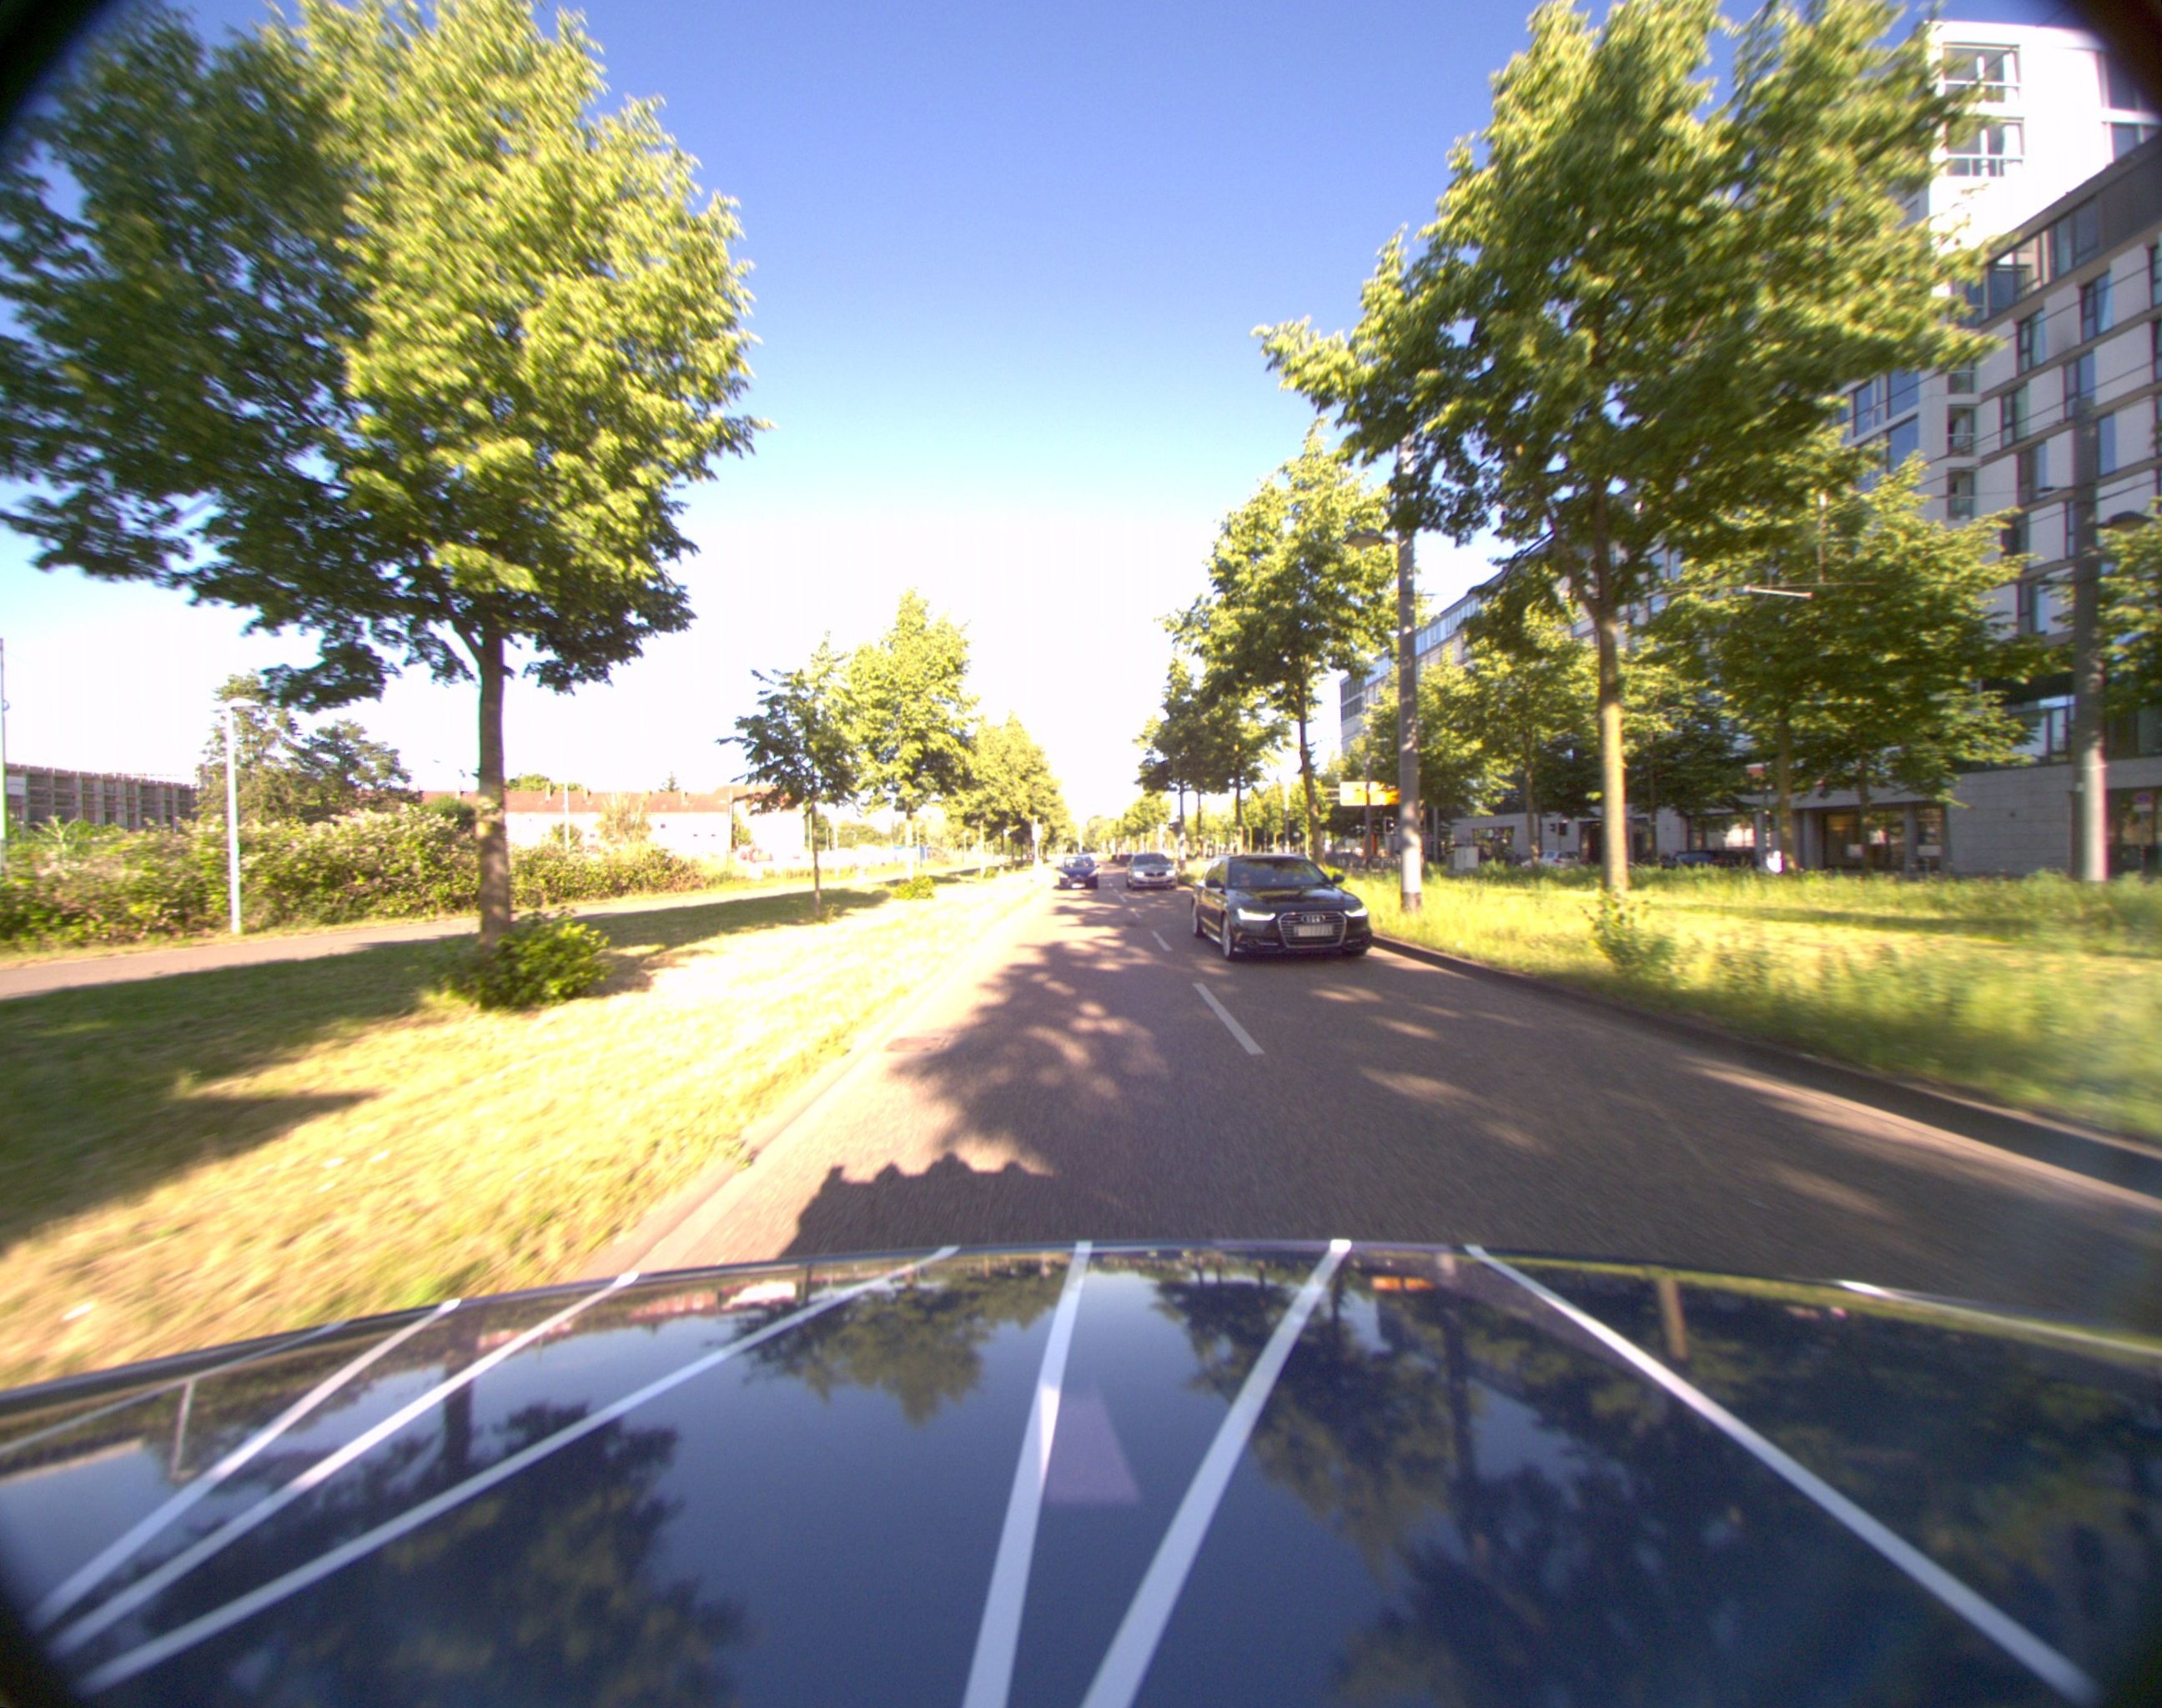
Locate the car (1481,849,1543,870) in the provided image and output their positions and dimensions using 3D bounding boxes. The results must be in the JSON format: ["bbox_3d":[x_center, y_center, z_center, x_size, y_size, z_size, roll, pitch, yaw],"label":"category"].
[{"bbox_3d":[31.398,0.383,55.498,2.004,1.412,4.545,-2,0,1],"label":"car"}]

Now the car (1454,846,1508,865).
[{"bbox_3d":[31.847,0.103,60.609,1.963,1.412,4.545,-1,0,1],"label":"car"}]

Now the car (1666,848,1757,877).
[{"bbox_3d":[31.350,0.394,37.894,1.654,1.228,3.464,-1,2,0],"label":"car"}]

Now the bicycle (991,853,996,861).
[{"bbox_3d":[-12.742,0.411,110.437,0.507,1.145,1.604,1,0,0],"label":"bicycle"}]

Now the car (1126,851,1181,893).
[{"bbox_3d":[2.937,0.682,31.593,1.849,1.560,4.528,-1,0,0],"label":"car"}]

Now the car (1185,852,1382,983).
[{"bbox_3d":[2.798,0.777,11.615,1.788,1.518,4.601,-2,0,1],"label":"car"}]

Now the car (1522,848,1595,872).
[{"bbox_3d":[25.962,0.310,41.421,1.773,1.231,3.484,-1,0,0],"label":"car"}]

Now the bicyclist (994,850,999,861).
[{"bbox_3d":[-13.527,0.229,121.731,0.593,1.578,0.965,-1,2,-1],"label":"bicyclist"}]

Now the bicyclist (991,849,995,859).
[{"bbox_3d":[-12.771,-0.044,110.484,0.504,1.464,0.833,-1,1,-1],"label":"bicyclist"}]

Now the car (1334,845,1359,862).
[{"bbox_3d":[32.502,-0.029,93.044,1.804,1.915,3.999,-1,2,1],"label":"car"}]

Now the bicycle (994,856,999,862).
[{"bbox_3d":[-13.517,0.757,121.718,0.593,0.955,1.899,-1,2,-1],"label":"bicycle"}]

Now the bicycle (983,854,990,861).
[{"bbox_3d":[-13.739,0.518,110.650,0.657,1.006,1.820,-2,0,1],"label":"bicycle"}]

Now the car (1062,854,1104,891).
[{"bbox_3d":[0.100,0.786,34.510,1.763,1.506,3.947,-1,0,0],"label":"car"}]

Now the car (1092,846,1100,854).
[{"bbox_3d":[3.062,-0.763,156.239,1.701,1.555,3.675,-1,1,0],"label":"car"}]

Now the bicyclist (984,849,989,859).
[{"bbox_3d":[-13.744,0.007,110.649,0.654,1.544,0.794,-1,1,1],"label":"bicyclist"}]
